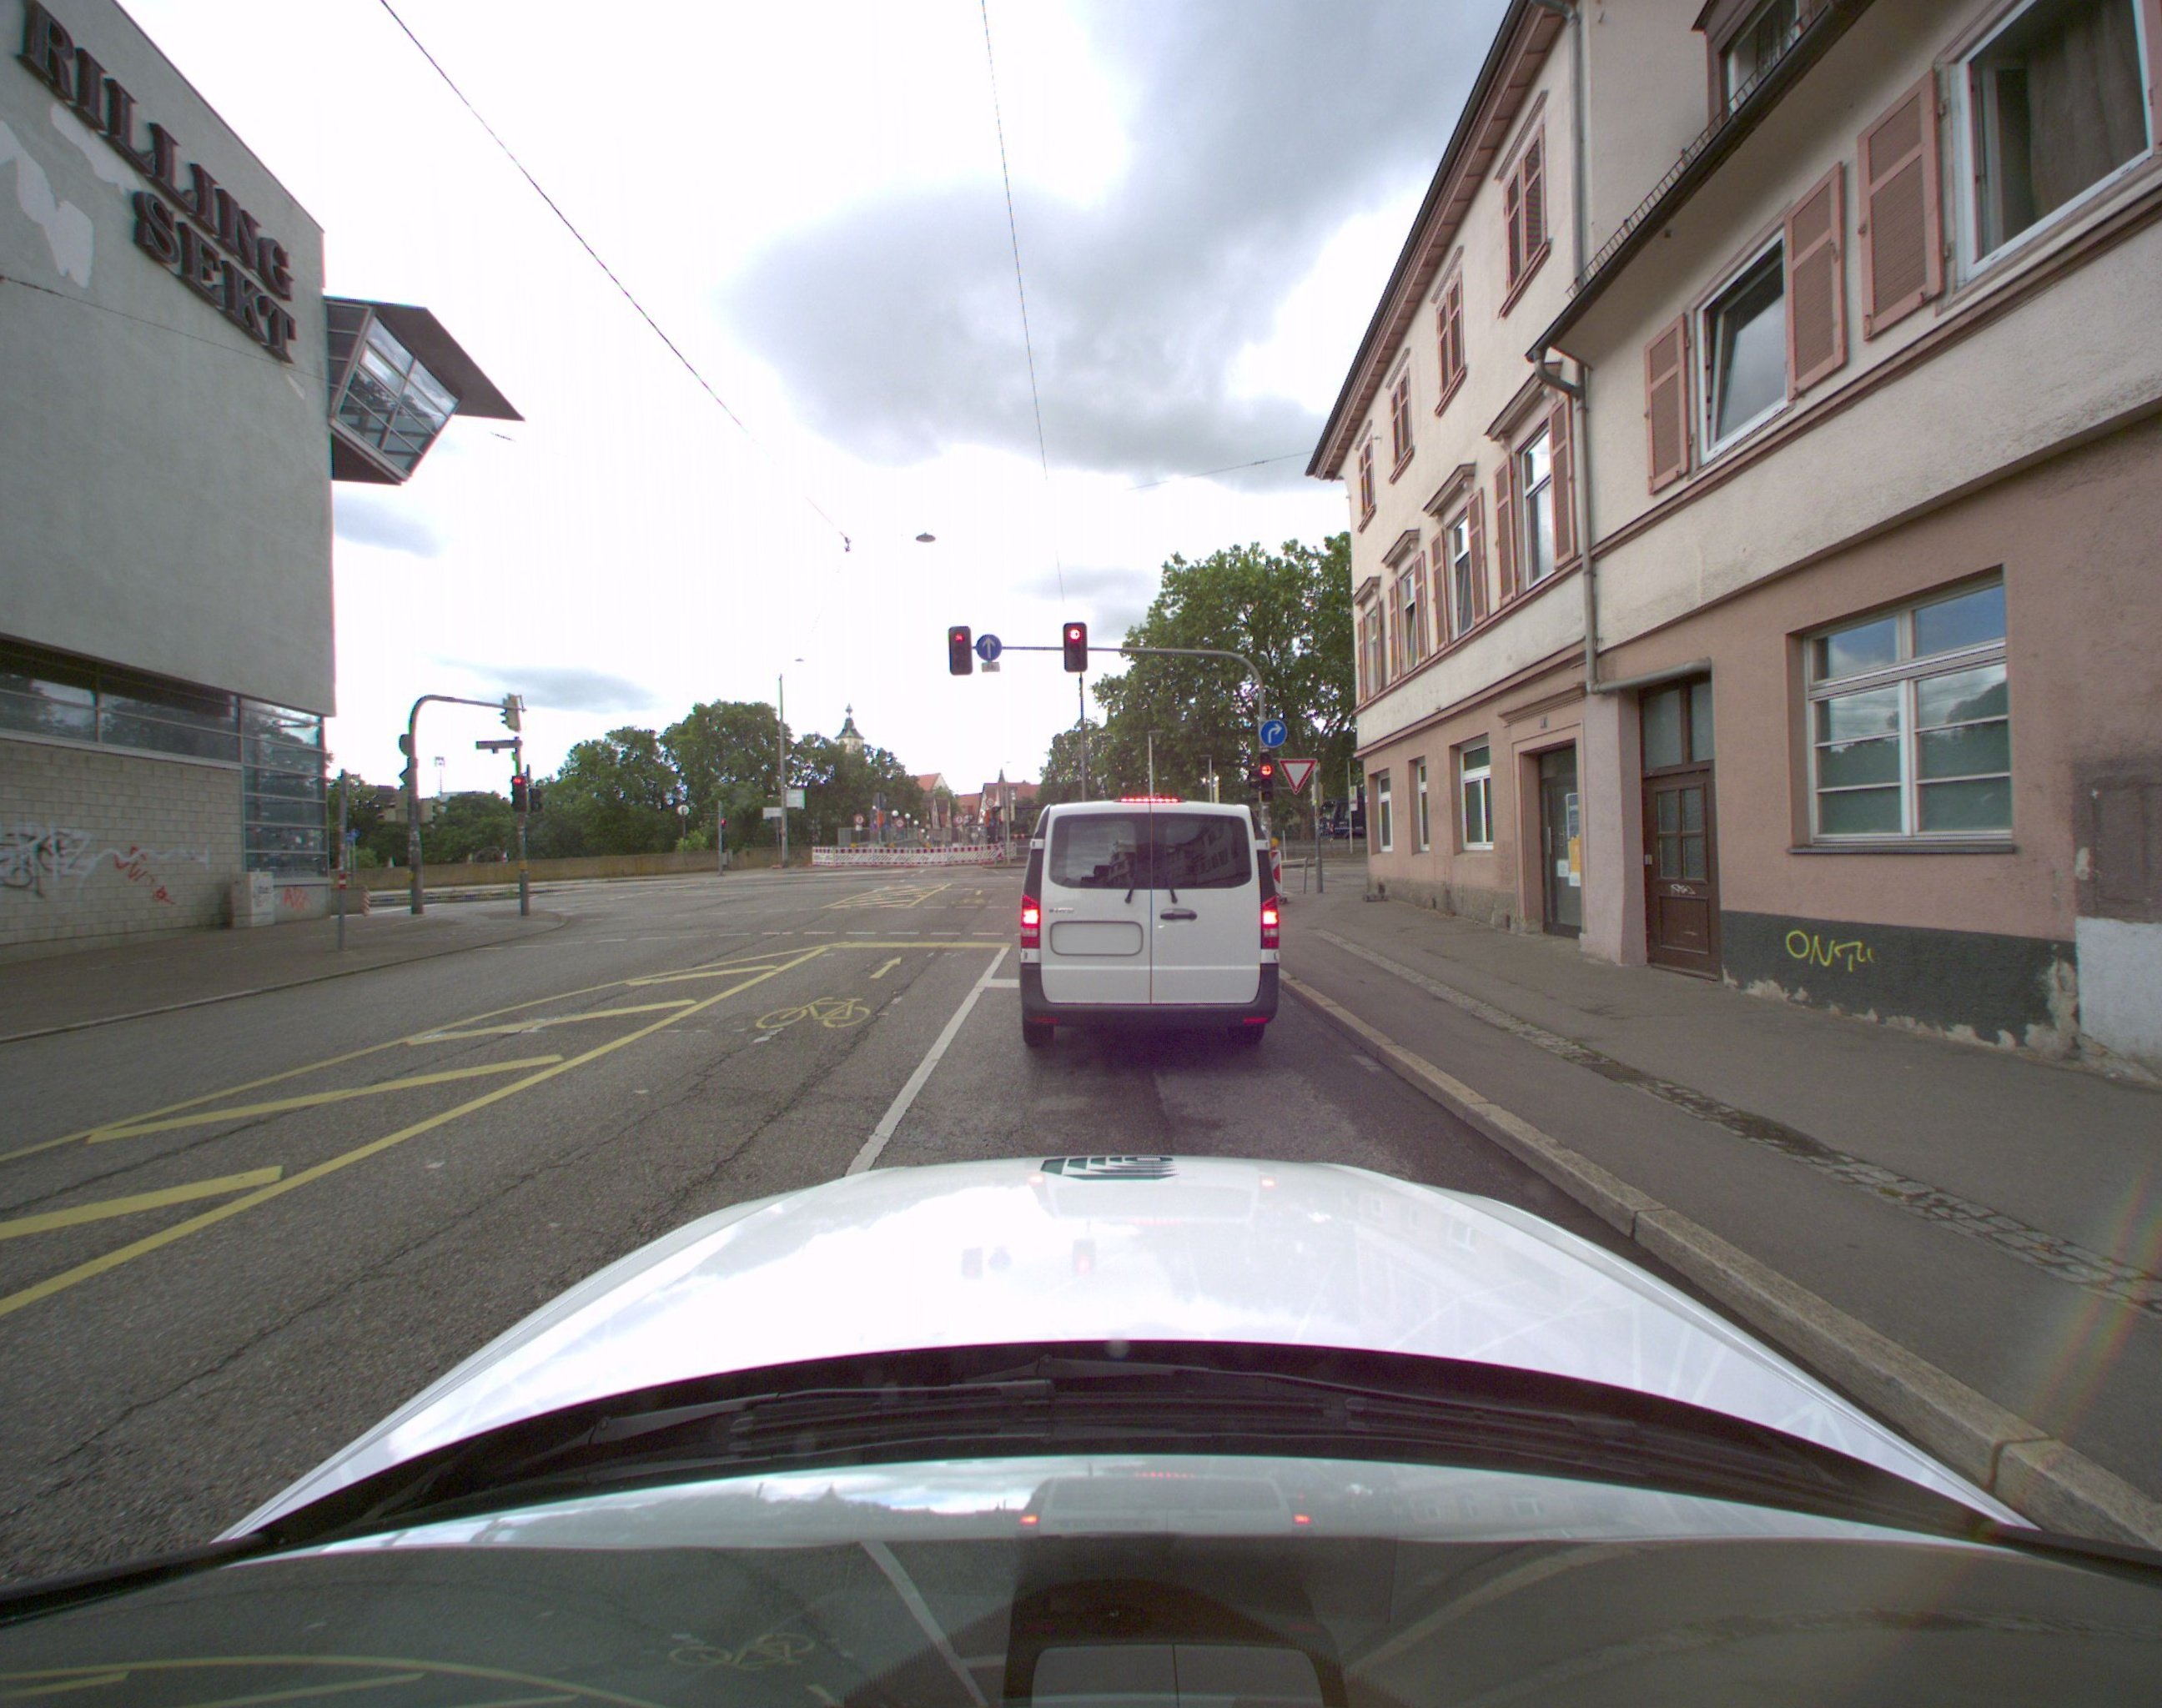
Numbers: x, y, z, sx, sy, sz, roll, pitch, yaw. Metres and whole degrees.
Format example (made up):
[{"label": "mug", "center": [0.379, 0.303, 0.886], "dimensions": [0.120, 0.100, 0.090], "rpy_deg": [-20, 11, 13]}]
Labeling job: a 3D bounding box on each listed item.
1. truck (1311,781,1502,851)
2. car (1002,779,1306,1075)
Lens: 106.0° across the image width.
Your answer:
[{"label": "truck", "center": [18.407, -2.140, 46.157], "dimensions": [10.173, 3.696, 2.266], "rpy_deg": [-1, 0, -7]}, {"label": "car", "center": [0.466, 0.416, 7.478], "dimensions": [1.988, 1.922, 4.248], "rpy_deg": [-1, 2, -1]}]
